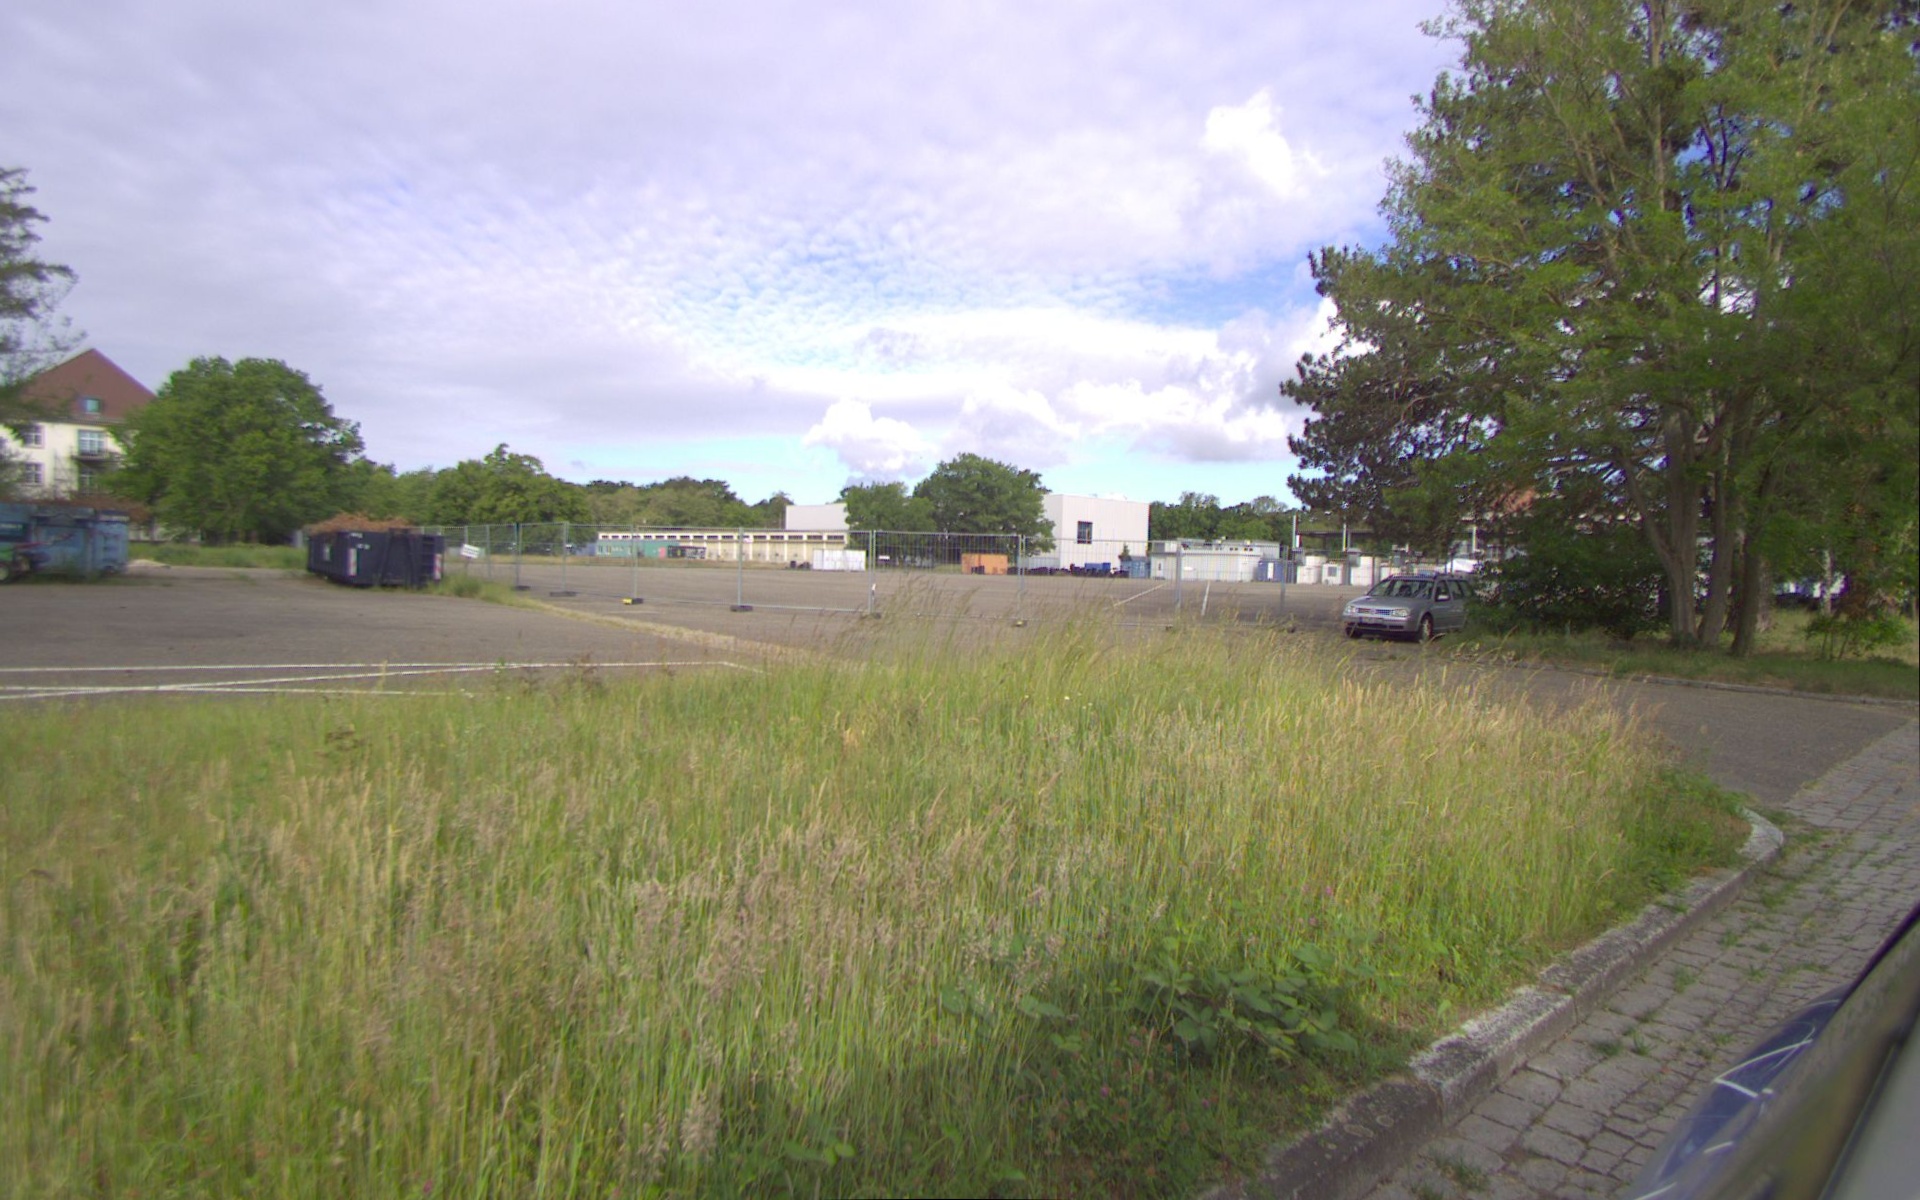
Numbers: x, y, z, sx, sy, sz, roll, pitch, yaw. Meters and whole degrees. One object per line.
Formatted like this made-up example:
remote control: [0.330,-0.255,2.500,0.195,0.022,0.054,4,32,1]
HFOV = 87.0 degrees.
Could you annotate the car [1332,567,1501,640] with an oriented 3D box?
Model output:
car: [10.349,0.045,22.827,4.250,1.466,1.759,0,3,-40]

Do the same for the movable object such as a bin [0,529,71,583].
movable object such as a bin: [-20.385,-0.953,21.289,2.499,1.097,1.064,1,2,-42]
